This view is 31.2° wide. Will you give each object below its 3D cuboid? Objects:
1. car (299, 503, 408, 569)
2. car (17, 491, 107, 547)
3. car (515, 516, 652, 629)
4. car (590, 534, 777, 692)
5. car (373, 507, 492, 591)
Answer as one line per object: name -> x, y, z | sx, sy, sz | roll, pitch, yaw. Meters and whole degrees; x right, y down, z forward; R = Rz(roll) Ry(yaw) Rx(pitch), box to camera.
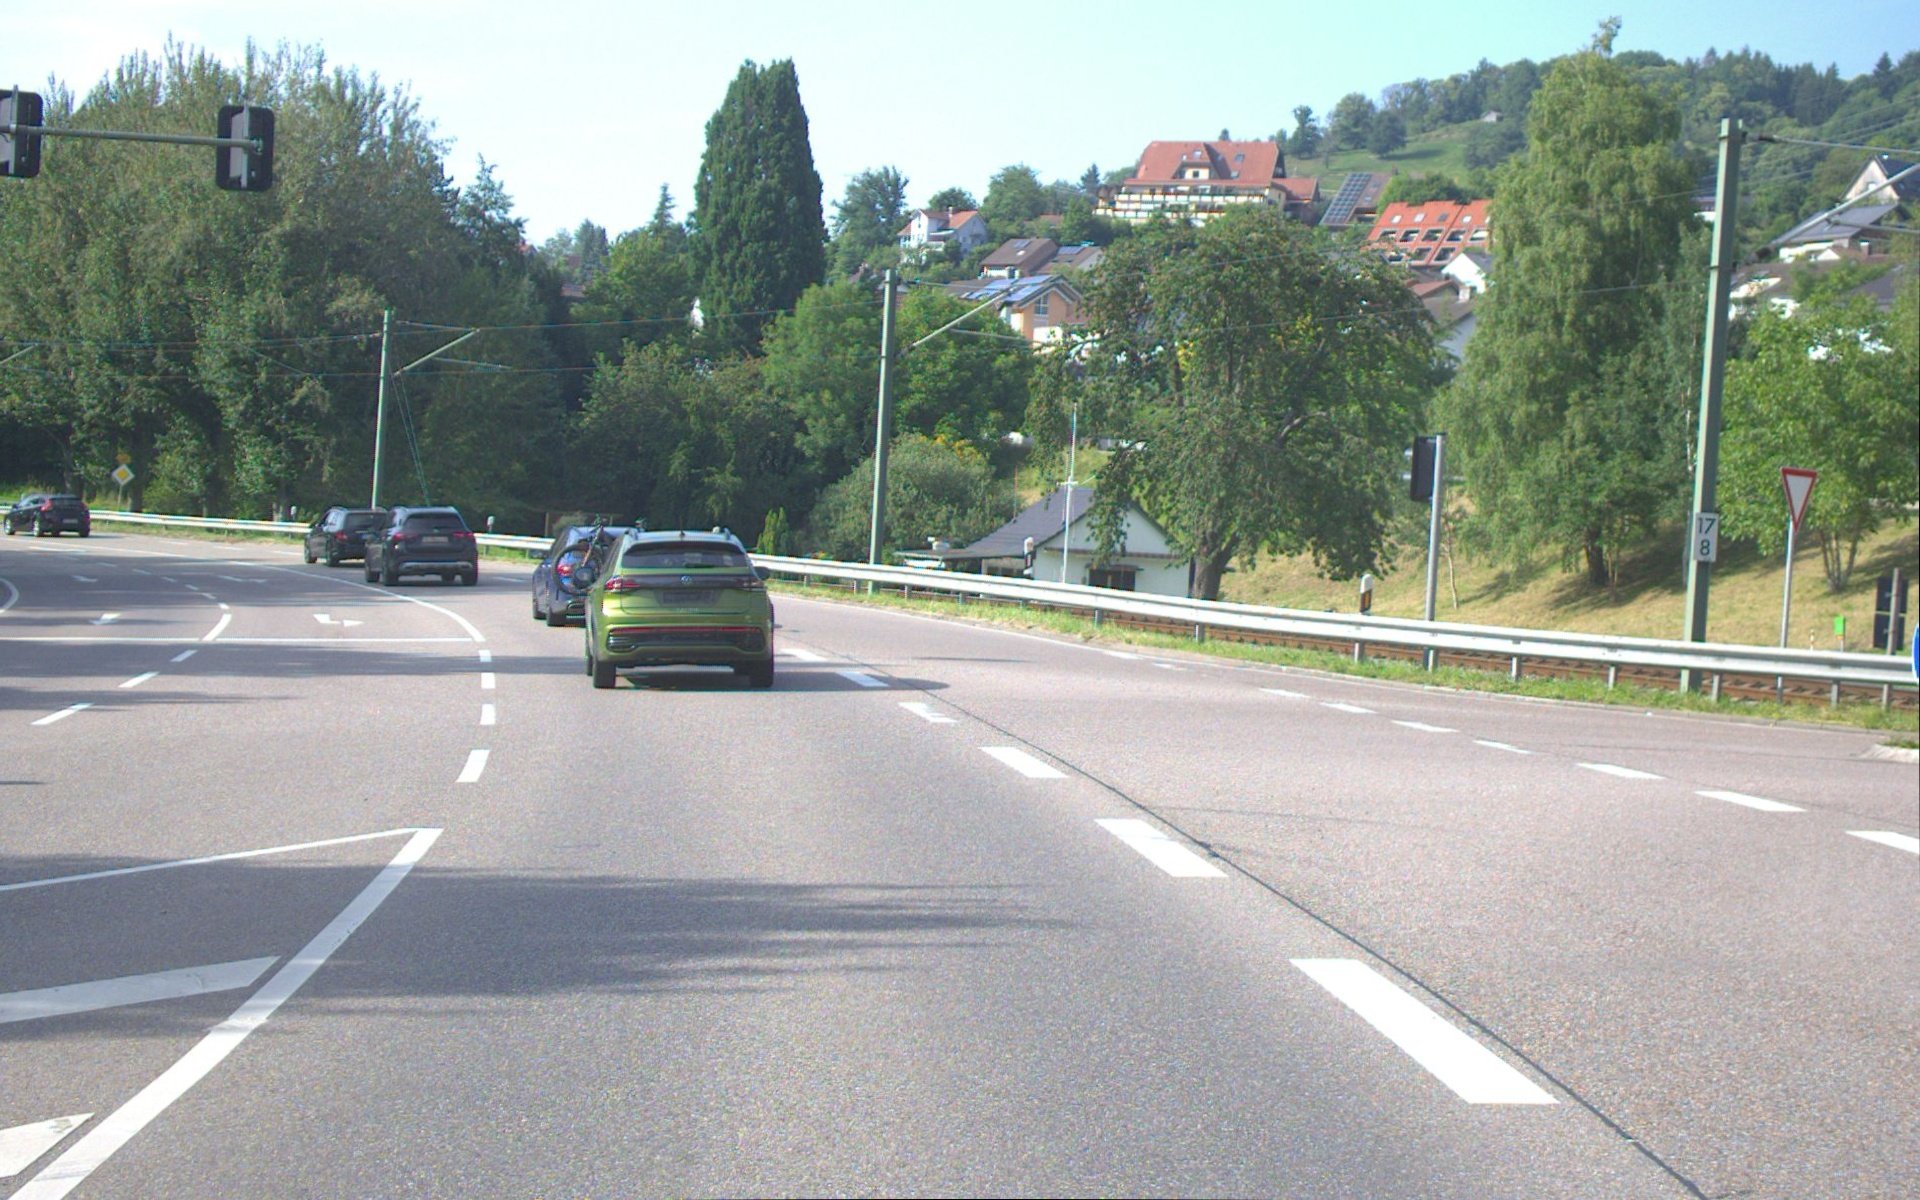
car -> -15.138, -1.611, 85.661 | 1.848, 1.521, 3.663 | 1, 2, -23
car -> -29.676, -2.686, 113.534 | 1.993, 1.739, 4.001 | 1, 1, -28
car -> -5.549, -0.433, 50.343 | 1.666, 1.554, 4.001 | 1, 1, -10
car -> -2.671, 0.086, 33.829 | 1.714, 1.450, 4.001 | 0, 1, -3
car -> -11.073, -1.085, 71.990 | 1.879, 1.681, 4.001 | 1, 1, -17
